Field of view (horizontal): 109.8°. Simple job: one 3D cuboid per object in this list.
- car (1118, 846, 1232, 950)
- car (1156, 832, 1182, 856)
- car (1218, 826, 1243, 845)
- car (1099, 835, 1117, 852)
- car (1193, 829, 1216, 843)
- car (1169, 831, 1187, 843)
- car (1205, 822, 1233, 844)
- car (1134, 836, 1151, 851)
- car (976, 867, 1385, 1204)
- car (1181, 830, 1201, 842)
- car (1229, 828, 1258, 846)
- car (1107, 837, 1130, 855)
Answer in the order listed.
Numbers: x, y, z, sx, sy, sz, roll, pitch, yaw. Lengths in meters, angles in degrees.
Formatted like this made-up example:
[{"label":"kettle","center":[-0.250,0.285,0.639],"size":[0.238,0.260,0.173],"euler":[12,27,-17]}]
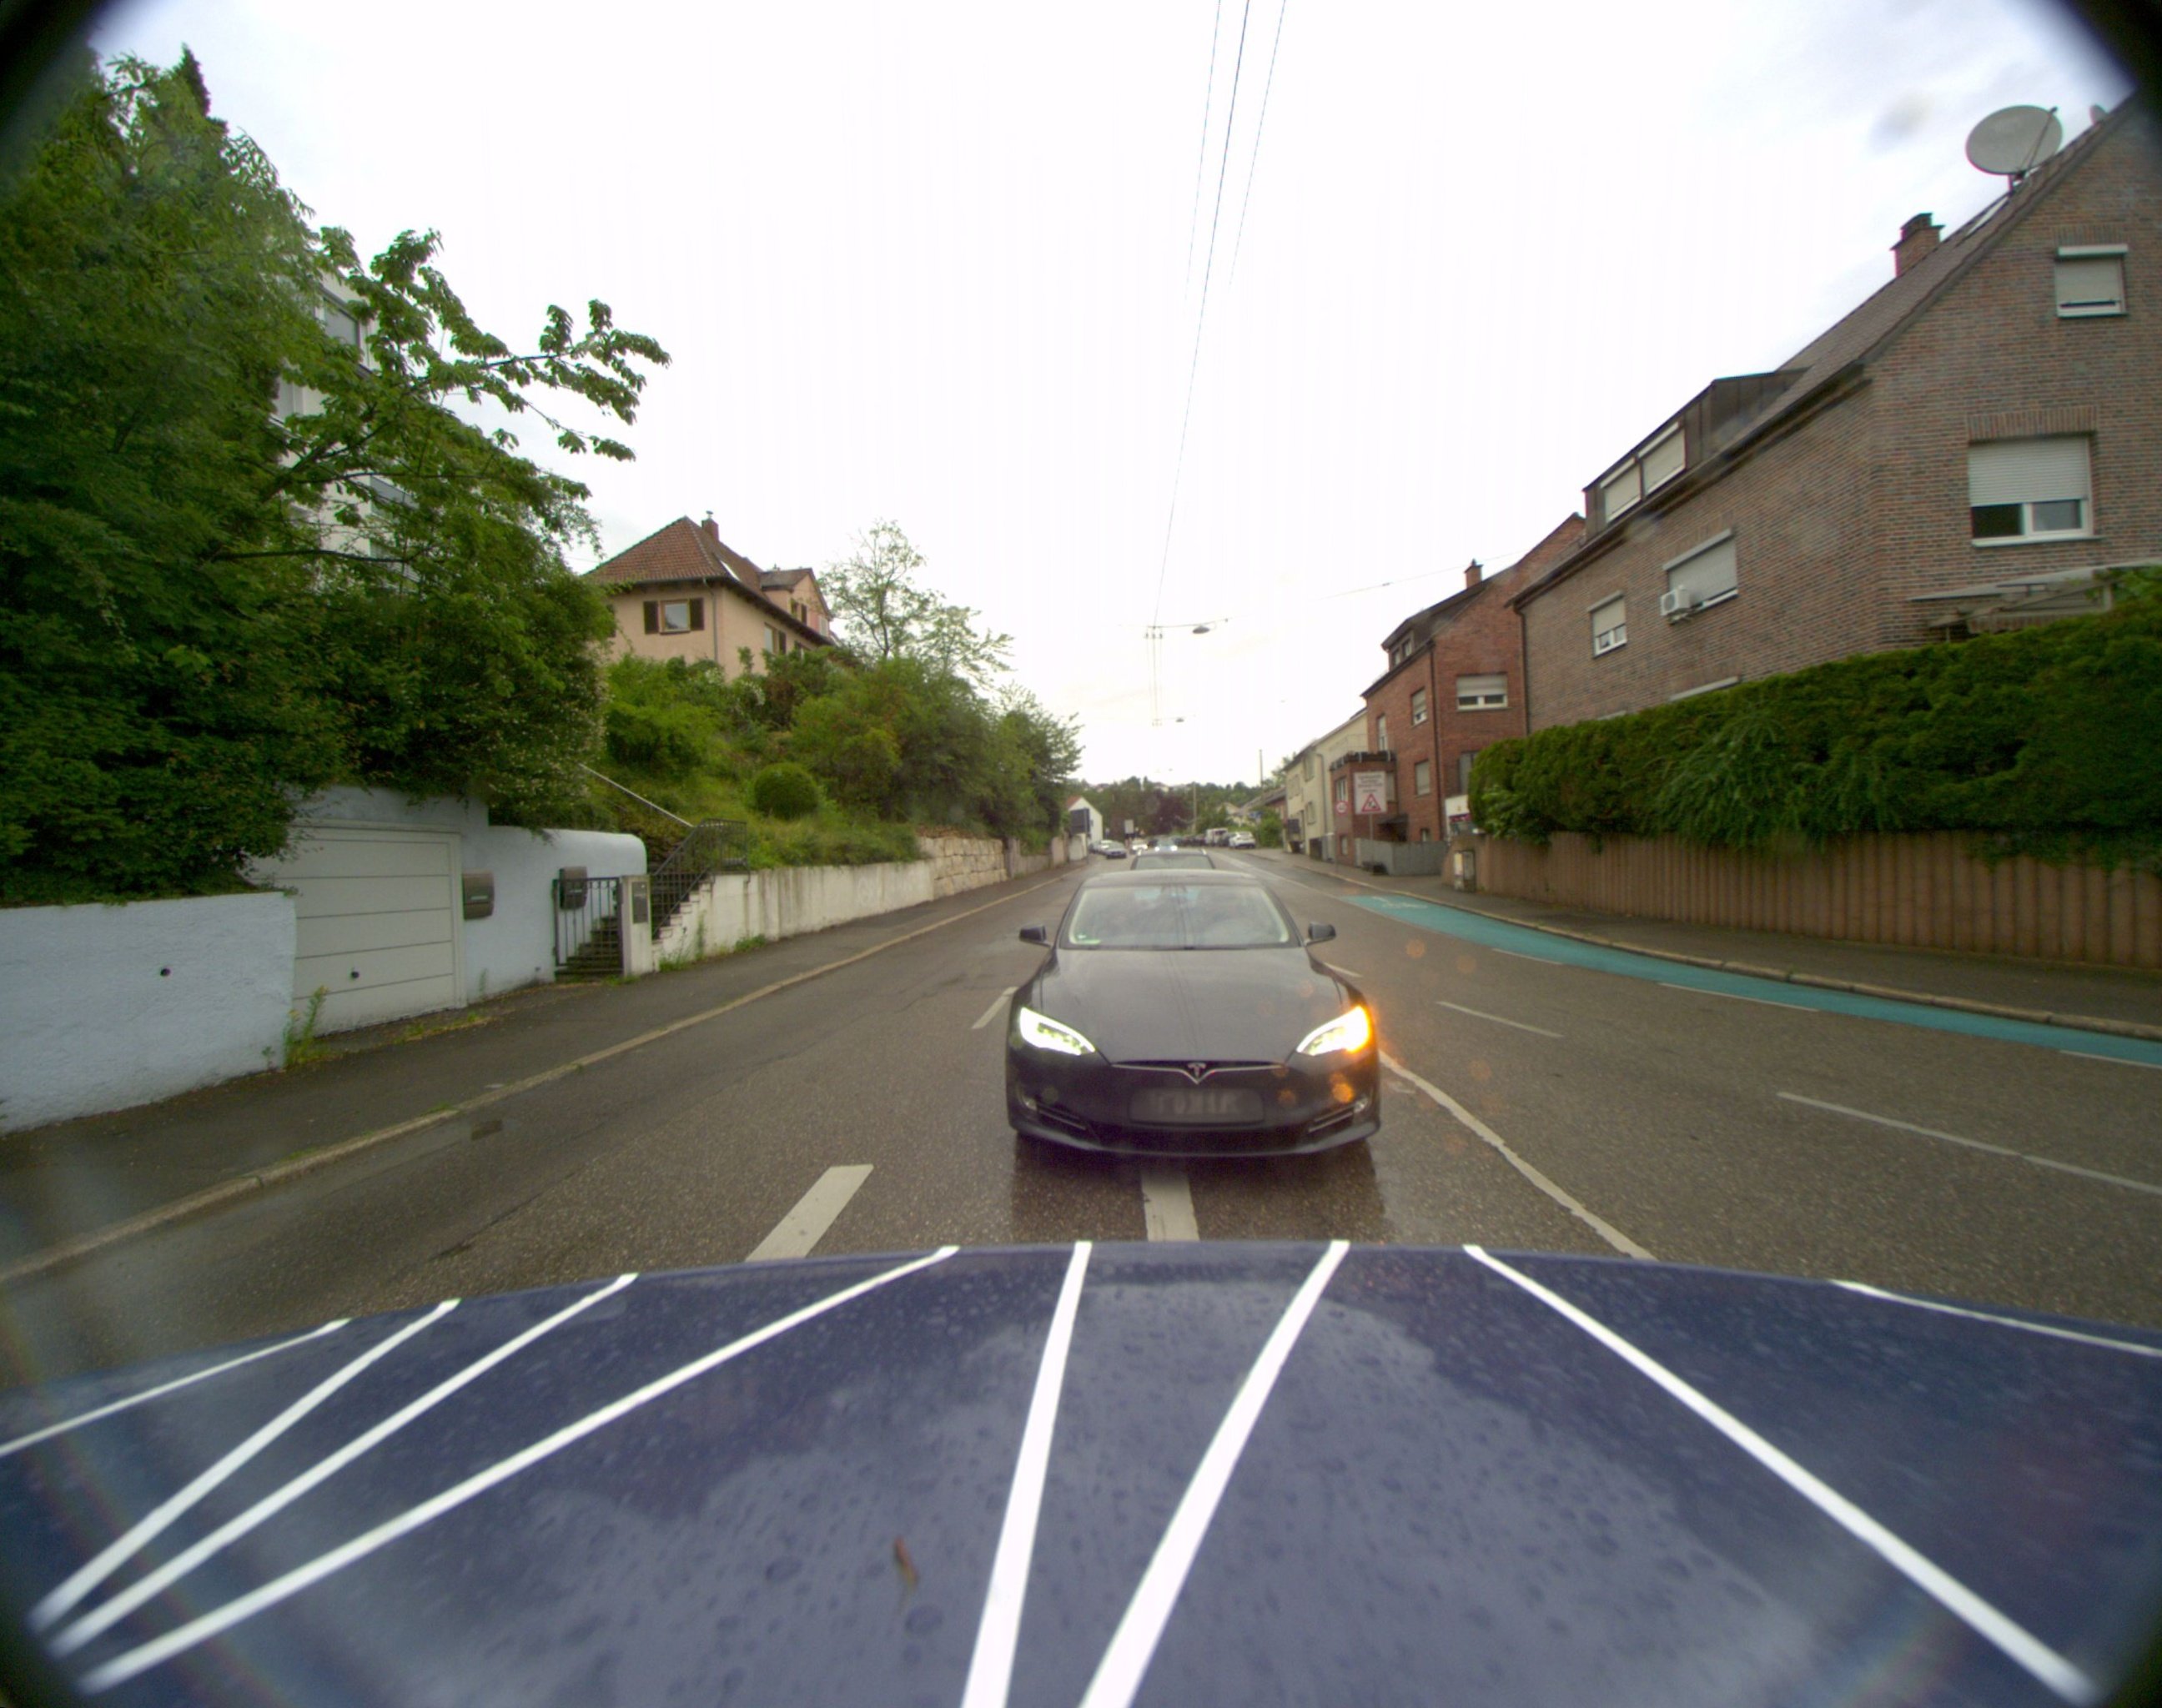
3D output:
[{"label":"car","center":[1.652,0.701,14.130],"size":[1.789,1.580,3.784],"euler":[-2,1,4]},{"label":"car","center":[7.111,-0.782,61.821],"size":[1.816,1.720,4.002],"euler":[-2,-1,4]},{"label":"car","center":[15.712,-1.920,80.104],"size":[1.814,1.793,4.263],"euler":[-4,1,2]},{"label":"car","center":[3.175,-1.229,89.123],"size":[1.820,1.855,4.038],"euler":[-2,2,-1]},{"label":"car","center":[14.840,-2.167,91.481],"size":[1.654,1.482,4.009],"euler":[-4,1,-6]},{"label":"car","center":[13.113,-2.295,102.556],"size":[1.624,1.482,3.901],"euler":[-4,1,-4]},{"label":"car","center":[15.601,-2.350,86.134],"size":[2.257,2.273,4.546],"euler":[-4,1,0]},{"label":"car","center":[6.881,-1.158,85.096],"size":[1.737,1.493,3.883],"euler":[-2,-1,4]},{"label":"car","center":[0.606,0.903,5.566],"size":[1.870,1.407,4.000],"euler":[-2,1,4]},{"label":"car","center":[14.066,-2.253,97.448],"size":[1.654,1.388,3.859],"euler":[-4,1,-4]},{"label":"car","center":[15.345,-1.568,71.956],"size":[1.946,1.557,4.263],"euler":[-4,1,2]},{"label":"car","center":[3.633,-0.720,73.161],"size":[2.002,1.596,4.360],"euler":[-2,-1,4]}]
